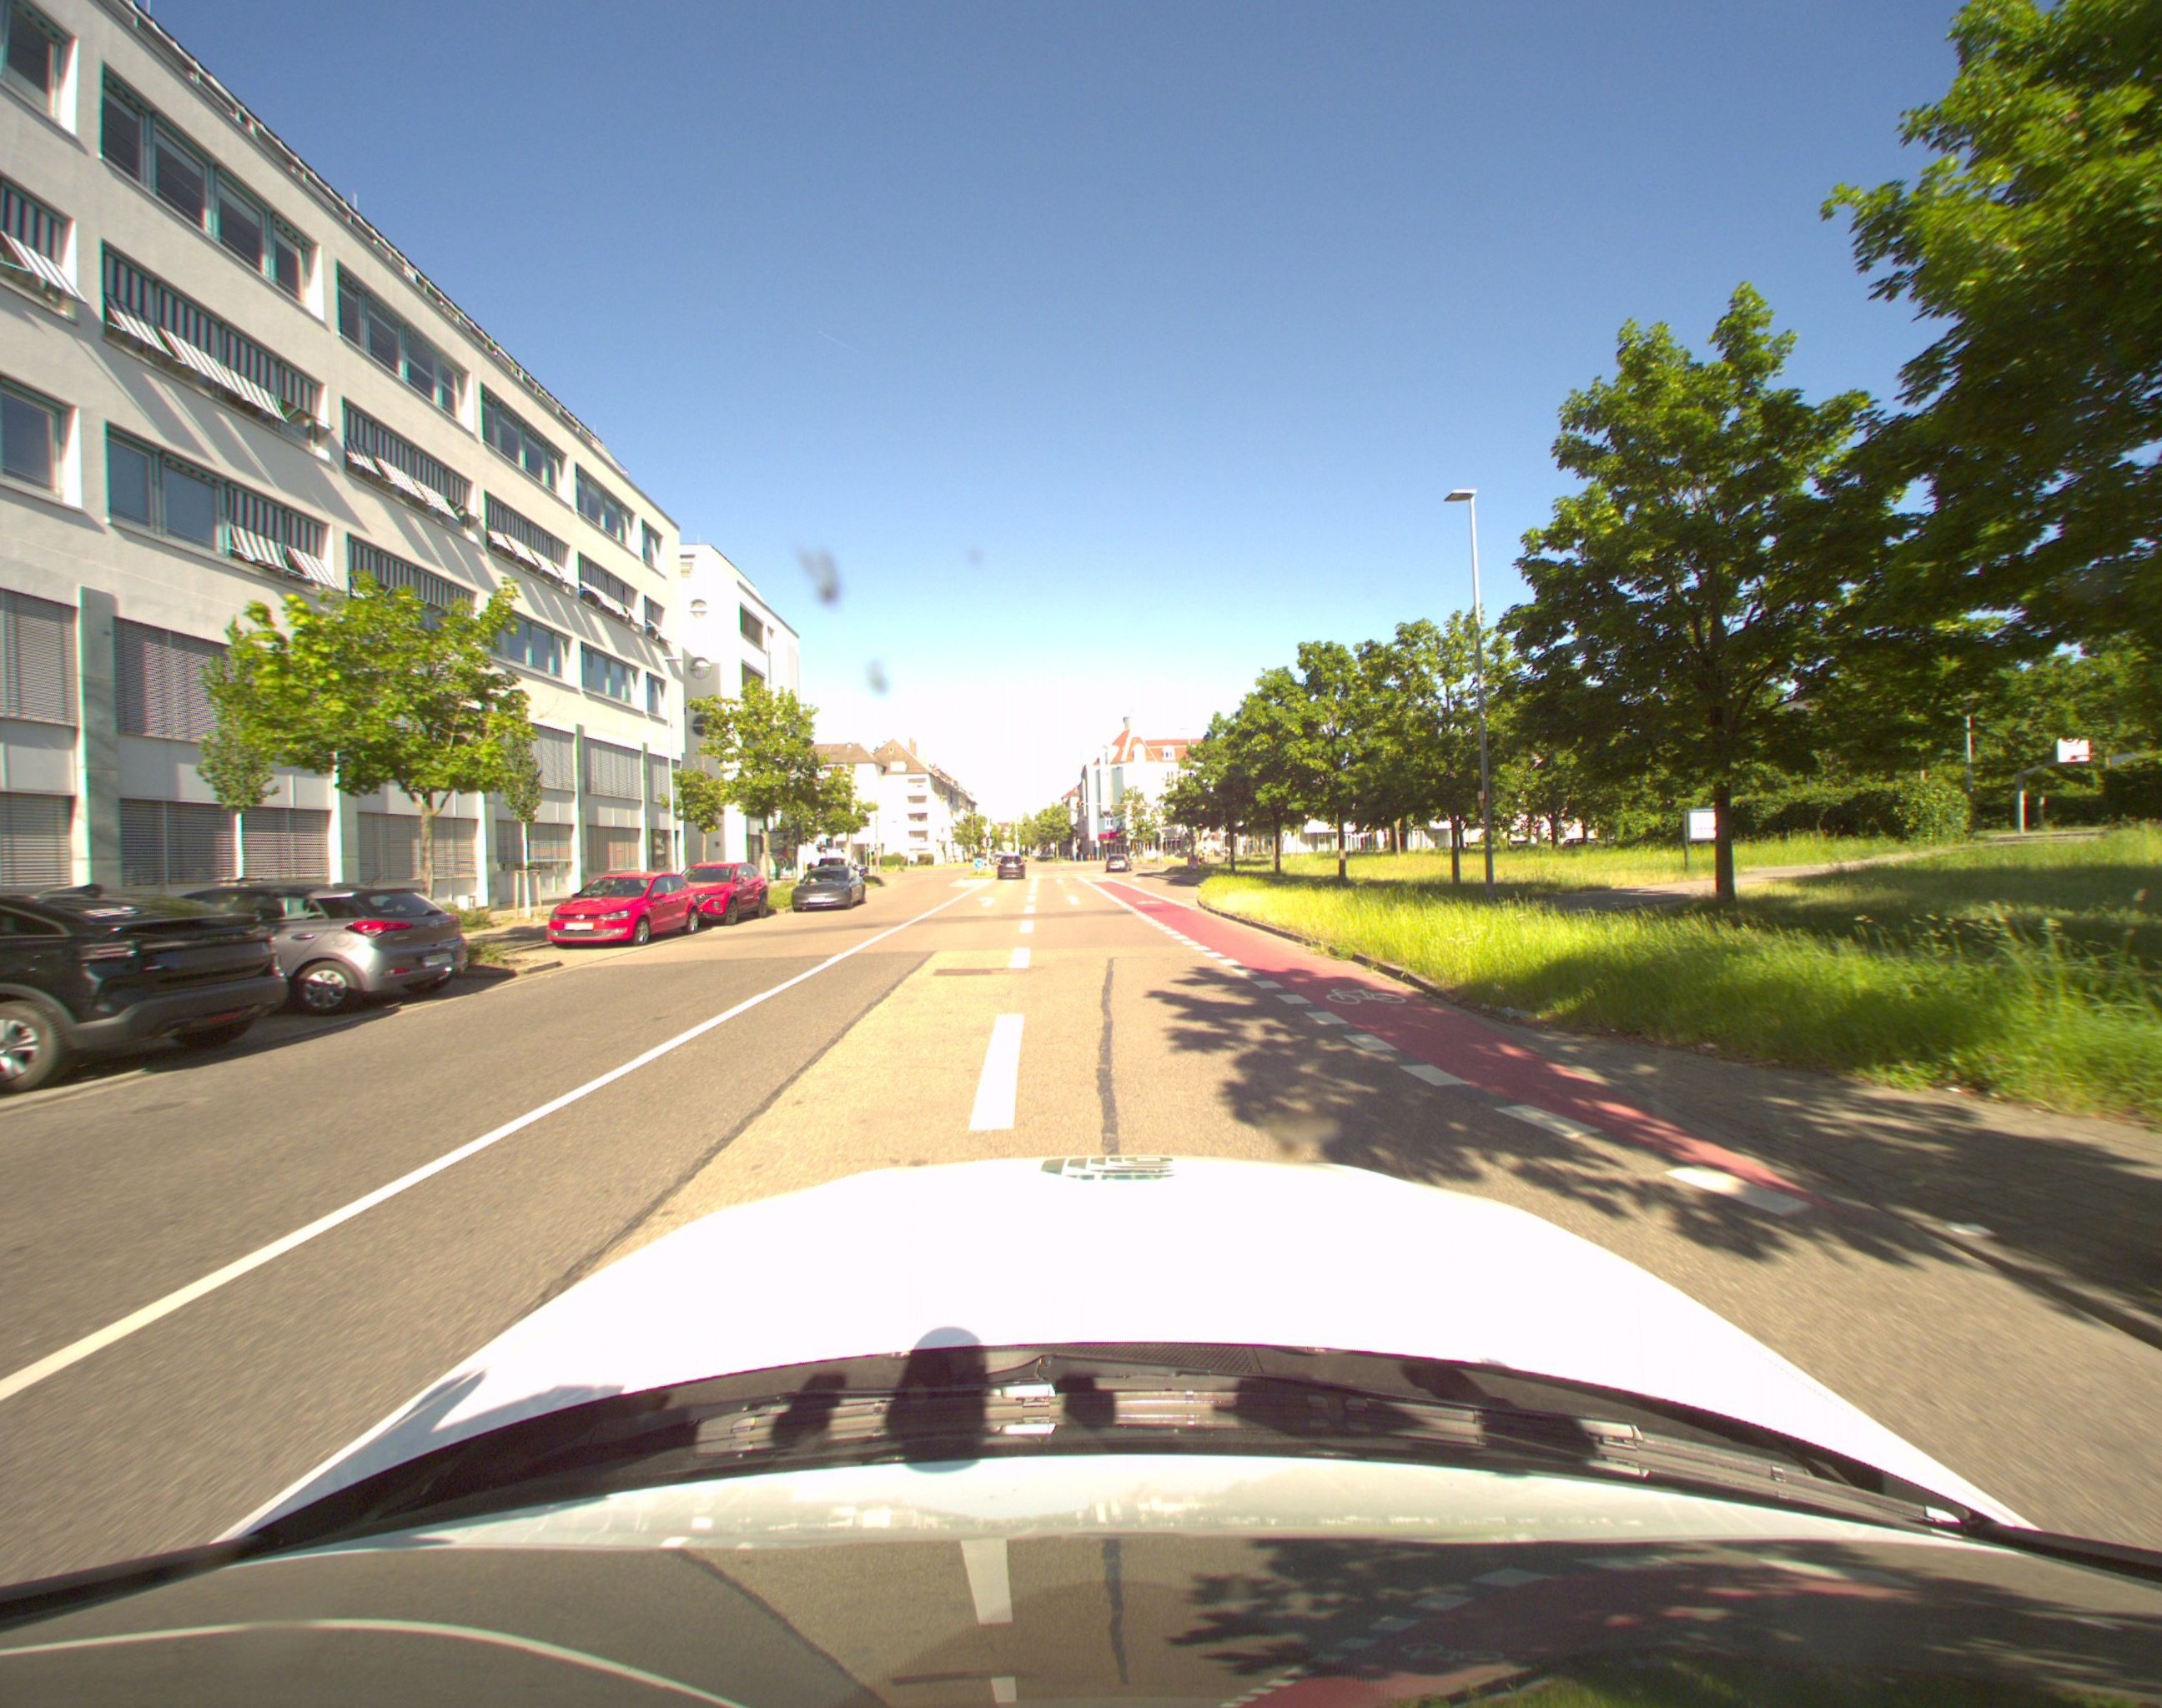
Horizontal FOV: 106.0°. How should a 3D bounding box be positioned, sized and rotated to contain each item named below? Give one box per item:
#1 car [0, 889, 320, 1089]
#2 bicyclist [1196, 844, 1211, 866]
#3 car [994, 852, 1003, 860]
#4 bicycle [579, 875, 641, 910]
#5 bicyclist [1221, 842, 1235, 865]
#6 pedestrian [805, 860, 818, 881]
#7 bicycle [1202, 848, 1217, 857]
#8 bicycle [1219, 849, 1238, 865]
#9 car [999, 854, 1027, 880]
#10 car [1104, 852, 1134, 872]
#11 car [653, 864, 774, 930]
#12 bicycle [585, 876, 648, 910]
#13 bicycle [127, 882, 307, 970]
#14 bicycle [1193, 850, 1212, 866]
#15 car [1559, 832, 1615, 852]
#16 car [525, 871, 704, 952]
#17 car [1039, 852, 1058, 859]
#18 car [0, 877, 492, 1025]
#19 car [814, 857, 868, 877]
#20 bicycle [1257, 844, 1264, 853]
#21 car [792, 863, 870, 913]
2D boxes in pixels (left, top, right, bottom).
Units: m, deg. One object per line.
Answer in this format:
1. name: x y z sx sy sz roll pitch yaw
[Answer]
1. car: -9.478 1.043 6.797 4.380 1.432 1.690 0 0 -7
2. bicyclist: 10.649 0.108 70.859 0.782 1.824 1.143 -3 0 34
3. car: -17.009 0.347 167.938 1.749 1.556 3.728 0 0 -2
4. bicycle: -15.934 1.301 27.572 1.759 1.069 0.556 -3 0 4
5. bicyclist: 12.808 -0.047 70.868 0.782 1.959 1.017 -3 0 34
6. pedestrian: -22.695 1.386 68.631 0.810 1.726 1.151 -2 0 -8
7. bicycle: 17.998 -0.219 114.130 1.862 1.182 0.560 -2 0 -8
8. bicycle: 12.853 0.258 70.922 0.782 1.347 2.277 -3 0 34
9. car: -4.562 0.848 54.662 1.751 1.628 4.470 0 0 -5
10. car: 3.147 0.673 66.975 1.676 1.577 3.886 0 0 14
11. car: -9.924 1.091 22.365 1.685 1.607 4.302 0 0 -5
12. bicycle: -16.153 1.351 28.332 1.780 1.069 0.622 -3 0 4
13. bicycle: -15.327 1.230 14.557 0.706 1.347 2.233 -3 0 2
14. bicycle: 10.573 0.358 70.736 0.782 1.347 2.092 -3 0 34
15. car: 44.865 -1.069 72.215 3.945 1.600 1.673 -3 0 -6
16. car: -9.573 1.103 17.100 1.684 1.432 3.867 0 0 -3
17. car: -6.394 0.329 159.120 3.568 1.223 1.725 -1 -1 -10
18. car: -9.999 1.070 9.814 4.383 1.538 1.689 0 0 -8
19. car: -21.887 1.212 74.442 4.478 1.800 1.760 0 0 -7
20. bicycle: 25.481 -0.767 115.720 0.559 1.182 1.868 -2 0 -2
21. car: -8.555 1.106 28.267 1.686 1.468 4.537 -3 0 -6
